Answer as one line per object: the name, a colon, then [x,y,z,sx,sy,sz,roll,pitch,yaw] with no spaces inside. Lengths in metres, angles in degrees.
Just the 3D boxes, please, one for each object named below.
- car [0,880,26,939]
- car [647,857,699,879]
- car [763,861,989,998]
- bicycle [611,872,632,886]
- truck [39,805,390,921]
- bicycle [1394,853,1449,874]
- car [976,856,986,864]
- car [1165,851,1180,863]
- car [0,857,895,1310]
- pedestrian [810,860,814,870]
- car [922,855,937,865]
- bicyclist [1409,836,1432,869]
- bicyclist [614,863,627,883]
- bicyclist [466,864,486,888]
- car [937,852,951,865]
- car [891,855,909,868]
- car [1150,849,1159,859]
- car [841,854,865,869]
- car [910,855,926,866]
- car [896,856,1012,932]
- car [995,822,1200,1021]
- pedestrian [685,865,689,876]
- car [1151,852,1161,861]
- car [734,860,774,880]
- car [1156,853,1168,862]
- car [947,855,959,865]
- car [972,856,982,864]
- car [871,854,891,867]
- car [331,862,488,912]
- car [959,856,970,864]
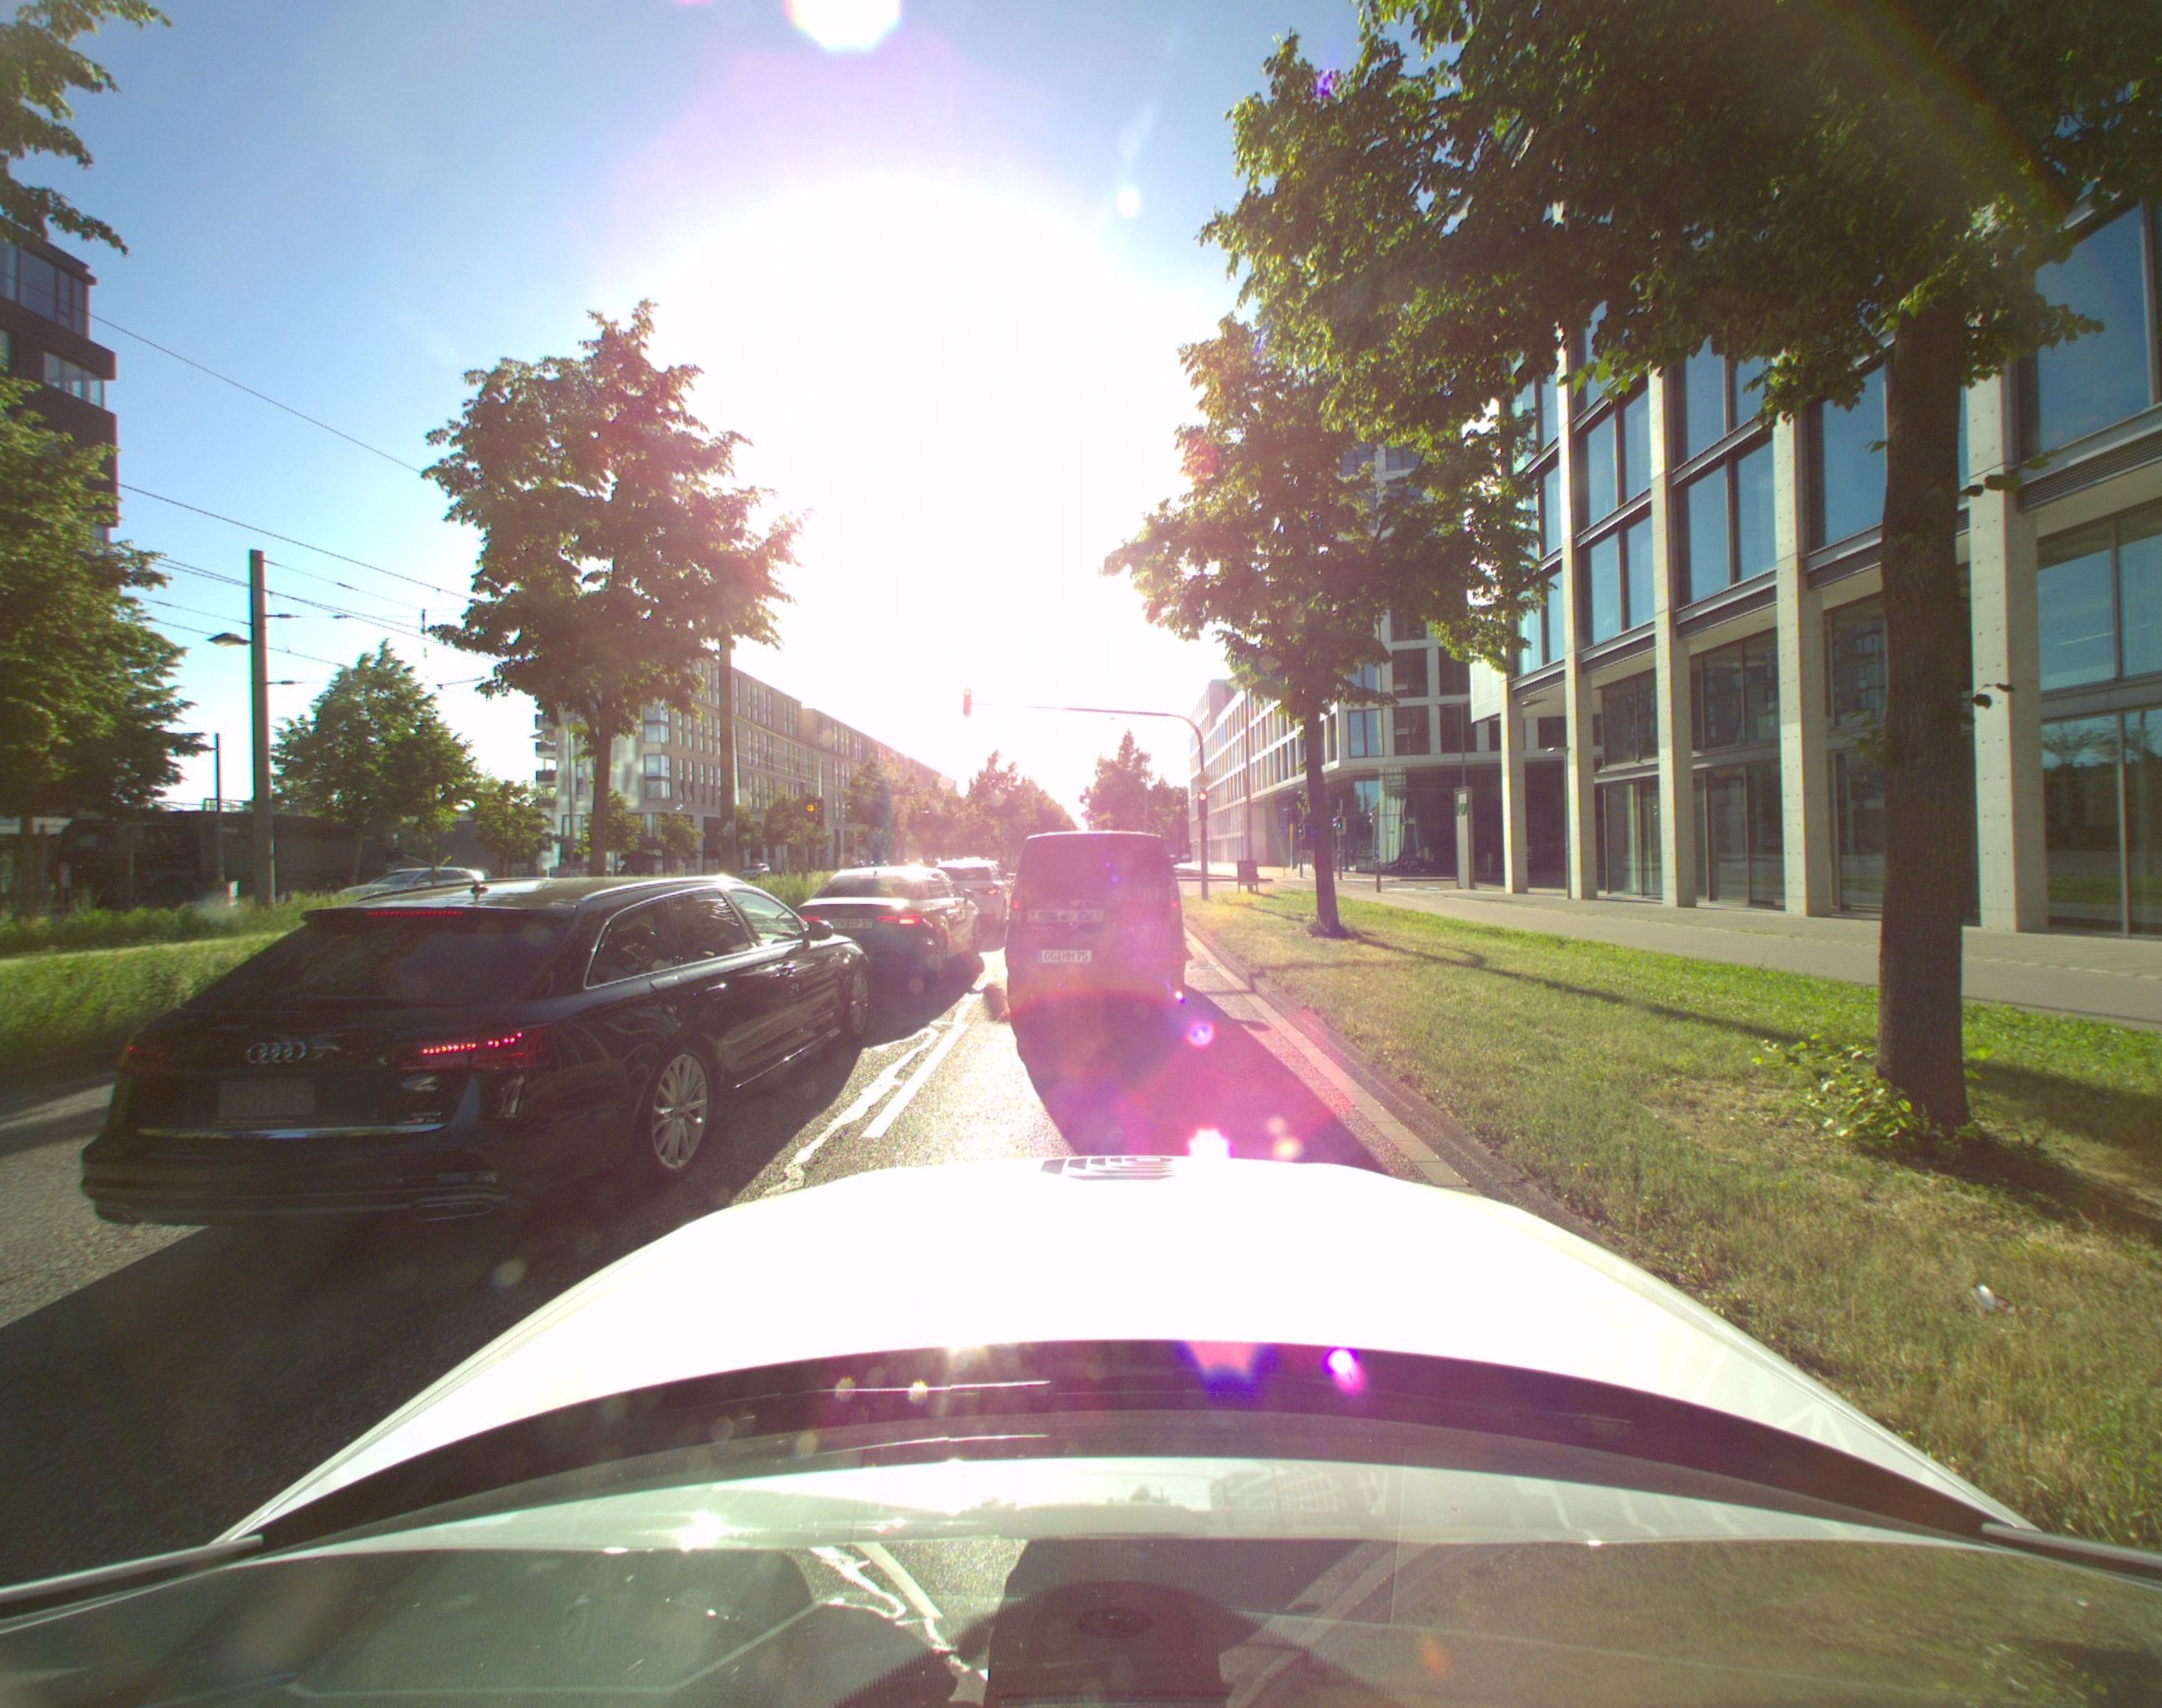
car: [-29.264,1.457,19.574,1.782,1.447,4.596,-1,0,44]
car: [-31.039,1.043,62.060,1.758,1.520,4.002,-1,0,2]
car: [-2.494,0.846,11.088,1.835,1.426,4.340,-1,0,2]
bicycle: [-34.686,1.884,61.481,0.475,1.035,1.757,-1,0,2]
truck: [-33.629,0.295,32.633,2.880,3.853,10.218,-1,0,2]
bicycle: [20.334,0.581,48.717,2.914,1.190,0.823,-1,0,41]
car: [-27.414,1.574,223.799,1.986,2.013,4.002,-1,0,2]
car: [14.341,0.433,127.870,1.986,1.782,4.002,-1,0,2]
car: [-2.757,0.789,5.266,1.868,1.484,4.967,-1,0,1]
pedestrian: [-38.942,1.585,117.779,0.466,1.438,0.384,-1,0,-43]
car: [-29.675,1.192,159.367,1.986,2.013,4.002,-1,0,2]
bicyclist: [20.305,-0.086,48.737,0.989,1.947,0.823,-1,0,41]
bicyclist: [-34.699,1.429,61.368,0.475,1.424,0.821,-1,0,2]
bicyclist: [-38.298,1.394,51.553,0.674,1.529,0.714,-1,0,1]
car: [-28.414,0.970,169.276,1.986,2.607,4.002,-1,0,2]
car: [-30.569,1.280,137.443,1.986,2.013,4.002,-1,0,2]
car: [17.916,0.030,198.160,1.986,2.497,4.988,-1,0,2]
car: [-30.869,0.993,110.581,1.986,2.013,4.002,-1,0,2]
car: [-30.089,1.136,150.270,1.986,2.013,4.002,-1,0,2]
car: [-2.637,0.788,17.795,1.797,1.426,3.902,-1,0,2]
car: [0.212,0.612,9.411,1.835,1.780,4.002,-1,0,2]
pedestrian: [-40.378,1.662,83.359,0.253,1.085,0.260,-1,0,1]
car: [16.529,0.548,179.659,1.986,1.782,4.002,-1,0,2]
car: [-31.790,1.540,79.231,1.986,1.814,4.372,-1,0,2]
car: [15.984,0.635,160.457,1.986,1.782,4.002,-1,0,2]
car: [-28.878,1.333,183.351,1.986,2.013,4.002,-1,0,2]
car: [-27.872,1.536,218.183,1.986,2.013,4.002,-1,0,2]
car: [-30.741,0.991,125.127,1.986,2.013,4.002,-1,0,2]
car: [-22.450,1.042,27.475,1.507,1.492,4.222,-1,0,5]
car: [-28.585,1.428,200.170,1.986,2.013,4.002,-1,0,2]
